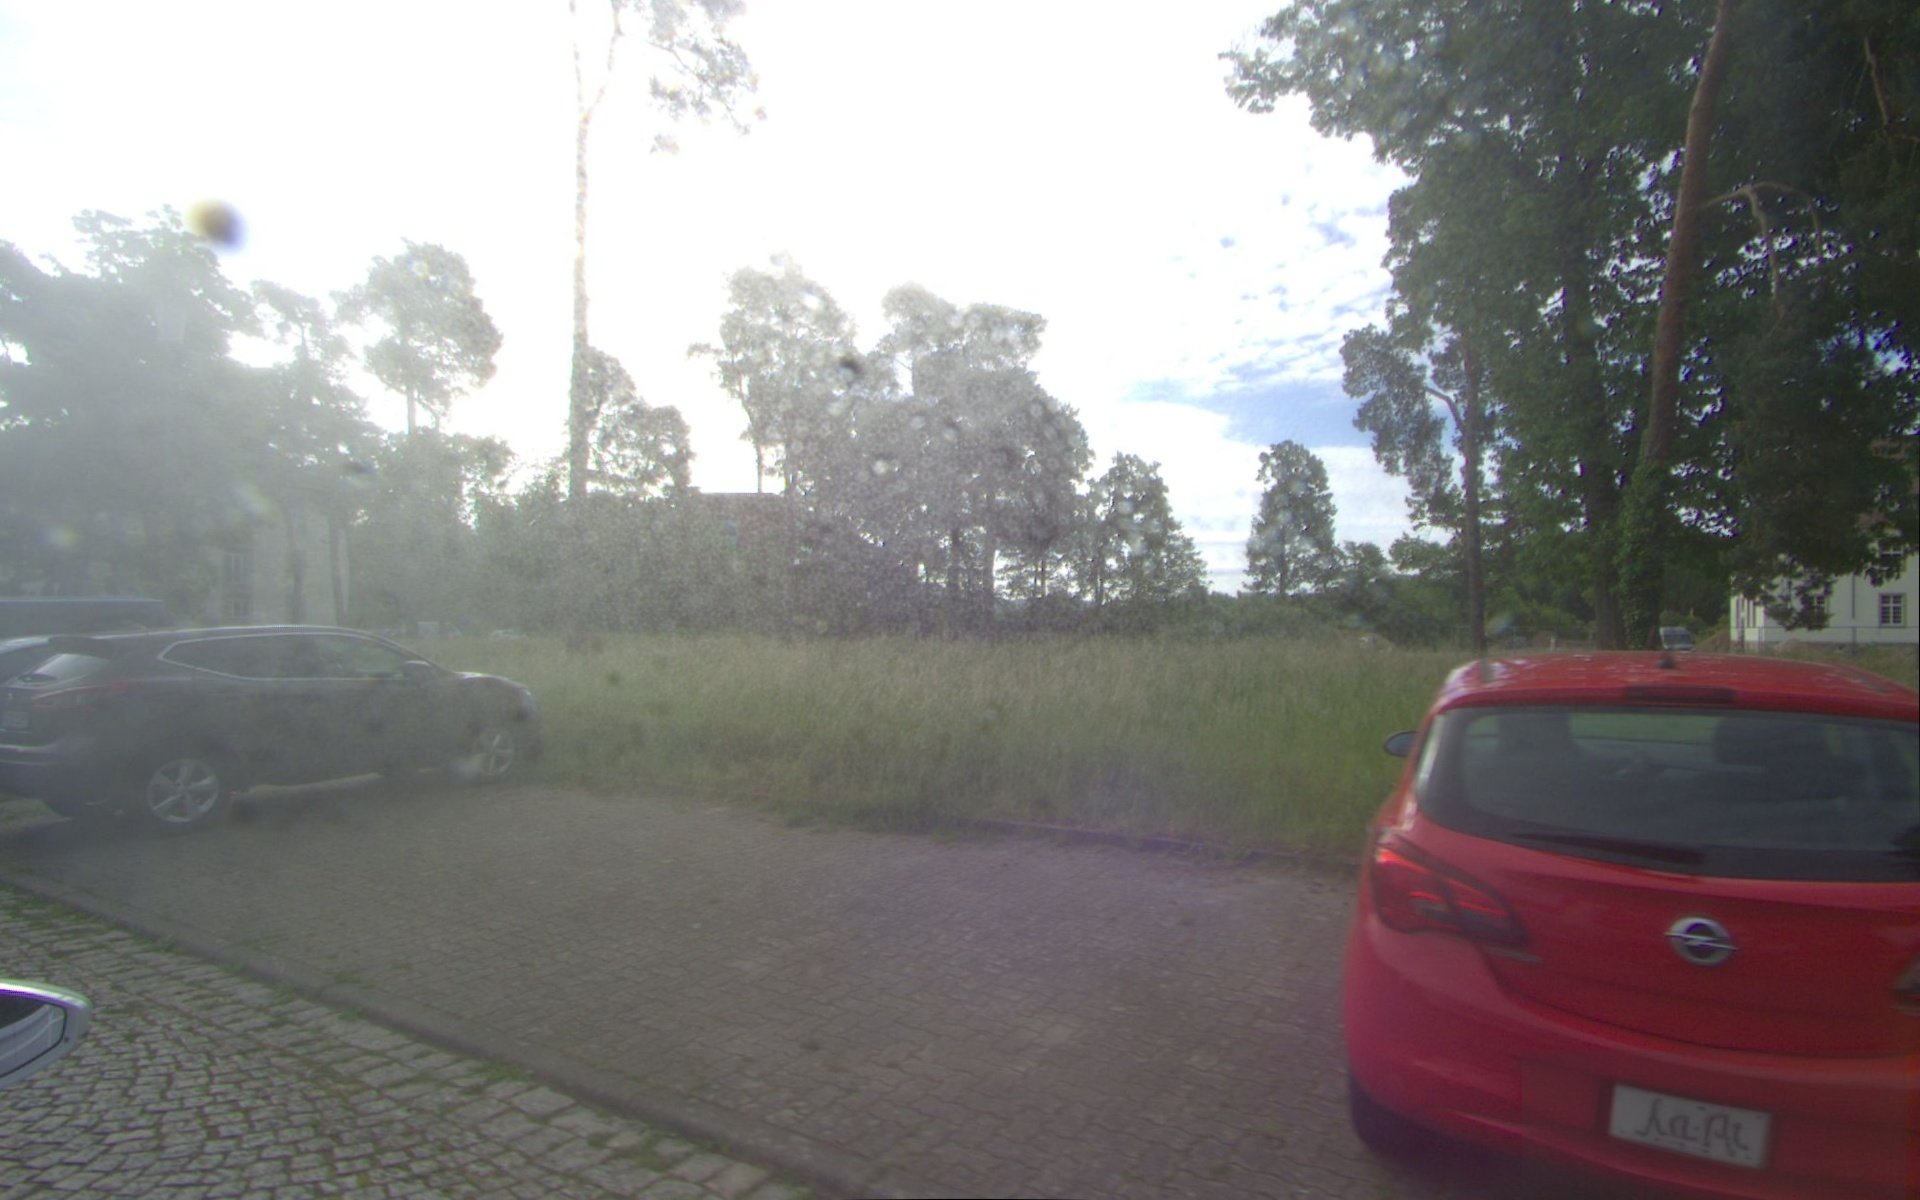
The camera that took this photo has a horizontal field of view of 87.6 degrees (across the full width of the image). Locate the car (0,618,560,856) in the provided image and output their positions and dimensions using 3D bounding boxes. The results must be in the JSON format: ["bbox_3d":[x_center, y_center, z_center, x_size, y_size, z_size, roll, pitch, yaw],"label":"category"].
[{"bbox_3d":[-6.047,0.980,9.155,1.923,1.615,4.200,0,-1,29],"label":"car"}]

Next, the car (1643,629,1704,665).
[{"bbox_3d":[54.816,3.629,77.037,2.237,2.673,5.676,0,-3,19],"label":"car"}]

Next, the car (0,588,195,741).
[{"bbox_3d":[-13.615,0.855,13.588,1.936,2.030,4.791,0,-1,29],"label":"car"}]

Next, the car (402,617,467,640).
[{"bbox_3d":[-51.367,2.819,97.920,2.075,2.044,5.295,-1,-3,32],"label":"car"}]

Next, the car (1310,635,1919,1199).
[{"bbox_3d":[2.637,0.929,3.892,1.758,1.516,3.919,0,-1,29],"label":"car"}]

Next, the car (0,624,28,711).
[{"bbox_3d":[-18.008,1.150,16.434,1.739,1.498,3.648,0,-1,31],"label":"car"}]

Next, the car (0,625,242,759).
[{"bbox_3d":[-11.491,1.078,12.254,1.695,1.498,4.095,0,-1,28],"label":"car"}]

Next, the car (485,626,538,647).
[{"bbox_3d":[-41.765,3.447,93.375,1.873,1.826,4.127,-1,-3,33],"label":"car"}]
